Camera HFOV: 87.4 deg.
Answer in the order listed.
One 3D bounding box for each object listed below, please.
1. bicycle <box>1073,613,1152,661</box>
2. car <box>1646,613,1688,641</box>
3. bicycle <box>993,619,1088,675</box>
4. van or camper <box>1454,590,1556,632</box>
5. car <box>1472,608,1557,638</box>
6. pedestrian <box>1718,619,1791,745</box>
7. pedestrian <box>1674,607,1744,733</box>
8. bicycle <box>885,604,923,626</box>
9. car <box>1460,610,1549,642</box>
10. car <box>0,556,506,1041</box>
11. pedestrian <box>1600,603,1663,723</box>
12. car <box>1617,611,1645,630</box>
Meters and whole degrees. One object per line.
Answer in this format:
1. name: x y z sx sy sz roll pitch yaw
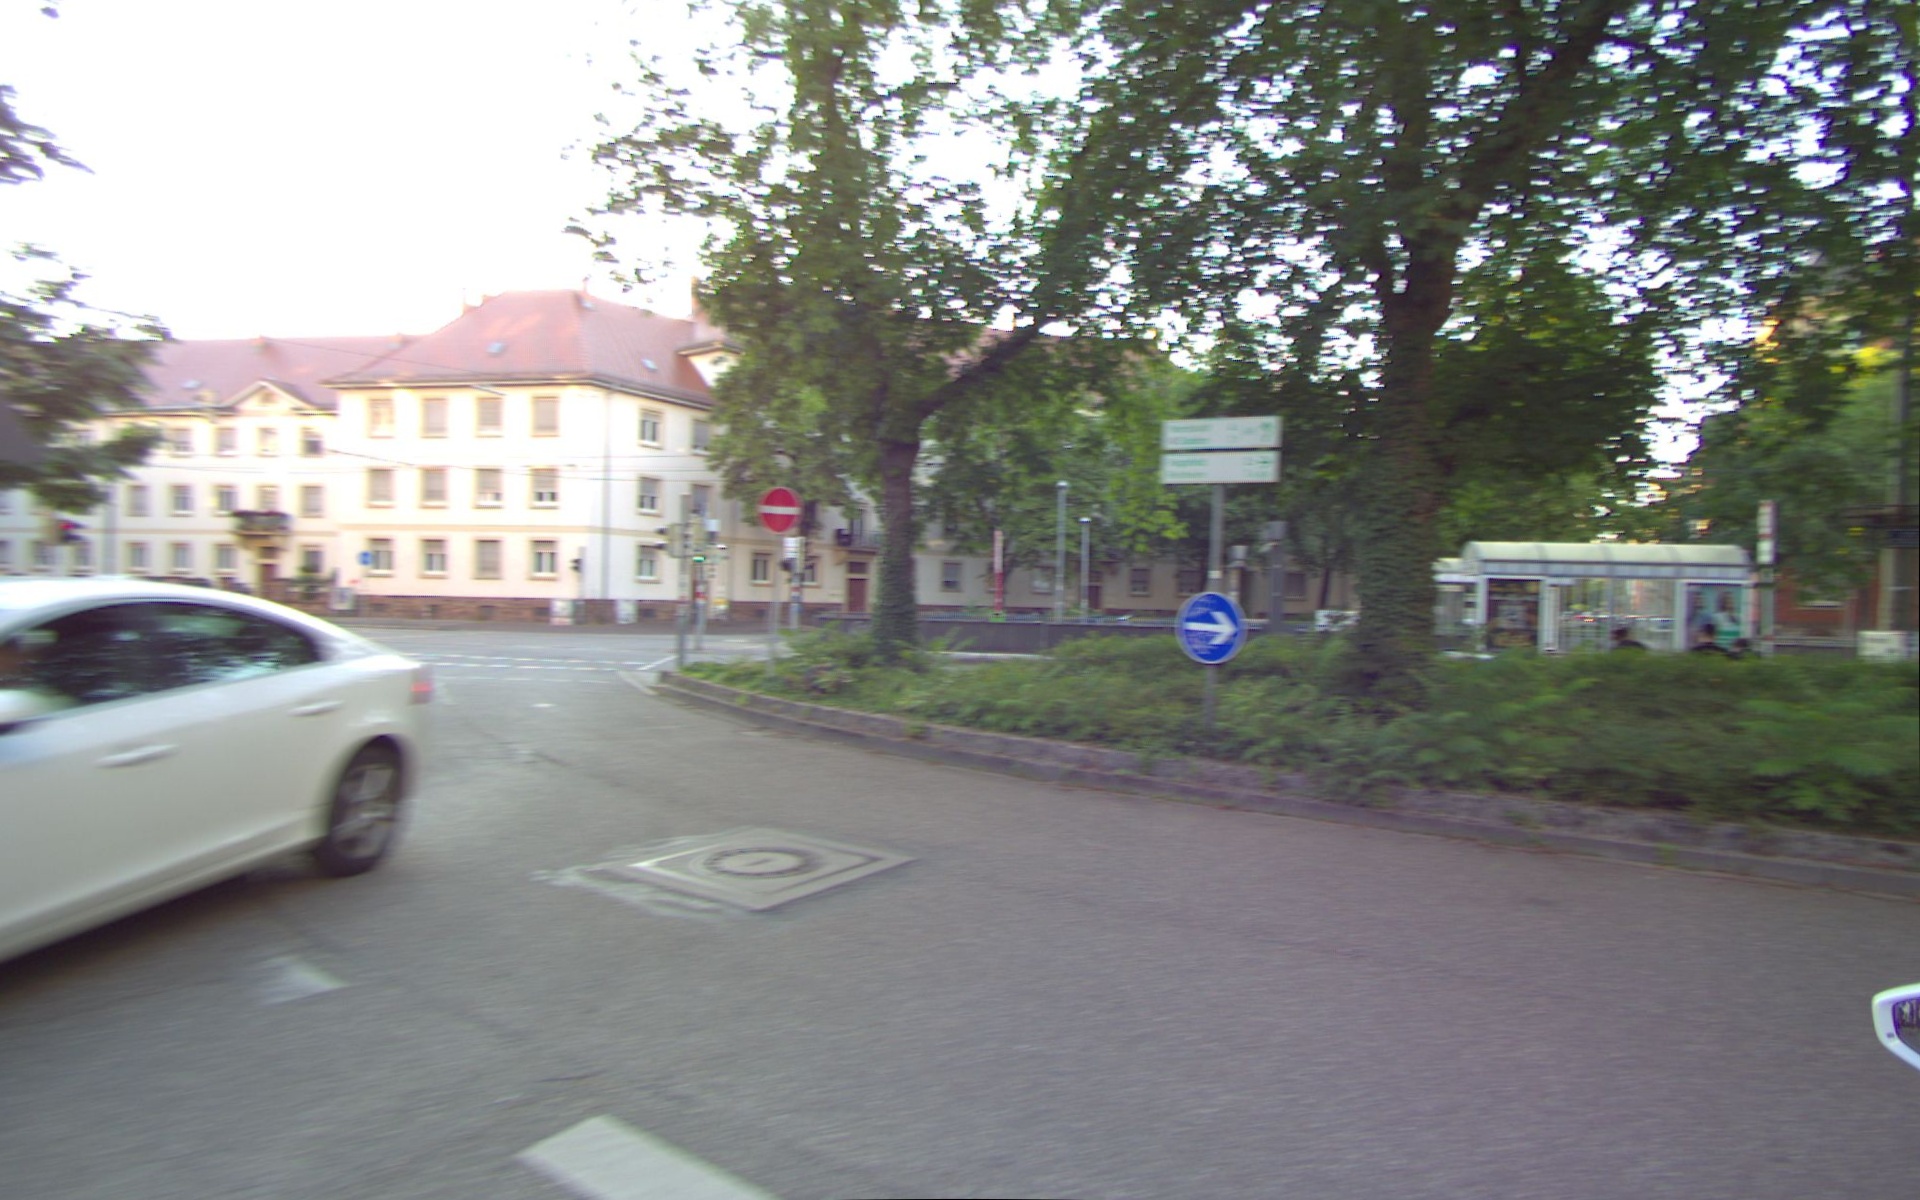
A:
1. bicycle: 3.607 0.863 23.721 1.818 1.065 0.547 1 0 11
2. car: 48.725 1.828 69.278 1.965 1.726 4.710 3 1 31
3. bicycle: 1.835 1.052 22.793 2.072 1.167 0.687 1 0 10
4. van or camper: 45.378 0.913 83.774 7.255 3.124 2.669 3 1 29
5. car: 37.218 1.549 67.569 4.876 1.726 1.997 3 1 29
6. pedestrian: 9.628 0.970 12.194 0.608 1.450 0.653 1 1 34
7. pedestrian: 8.992 0.817 12.073 0.608 1.450 0.653 1 1 34
8. bicycle: -3.016 0.811 53.982 1.892 1.167 0.682 1 0 -24
9. car: 34.539 1.606 63.831 4.876 1.726 1.997 3 1 29
10. car: -3.976 0.613 3.998 1.960 1.537 4.842 1 0 2
11. pedestrian: 8.424 0.766 12.612 0.608 1.450 0.653 1 1 34
12. car: 66.707 2.022 99.902 1.965 1.726 4.710 3 1 31
